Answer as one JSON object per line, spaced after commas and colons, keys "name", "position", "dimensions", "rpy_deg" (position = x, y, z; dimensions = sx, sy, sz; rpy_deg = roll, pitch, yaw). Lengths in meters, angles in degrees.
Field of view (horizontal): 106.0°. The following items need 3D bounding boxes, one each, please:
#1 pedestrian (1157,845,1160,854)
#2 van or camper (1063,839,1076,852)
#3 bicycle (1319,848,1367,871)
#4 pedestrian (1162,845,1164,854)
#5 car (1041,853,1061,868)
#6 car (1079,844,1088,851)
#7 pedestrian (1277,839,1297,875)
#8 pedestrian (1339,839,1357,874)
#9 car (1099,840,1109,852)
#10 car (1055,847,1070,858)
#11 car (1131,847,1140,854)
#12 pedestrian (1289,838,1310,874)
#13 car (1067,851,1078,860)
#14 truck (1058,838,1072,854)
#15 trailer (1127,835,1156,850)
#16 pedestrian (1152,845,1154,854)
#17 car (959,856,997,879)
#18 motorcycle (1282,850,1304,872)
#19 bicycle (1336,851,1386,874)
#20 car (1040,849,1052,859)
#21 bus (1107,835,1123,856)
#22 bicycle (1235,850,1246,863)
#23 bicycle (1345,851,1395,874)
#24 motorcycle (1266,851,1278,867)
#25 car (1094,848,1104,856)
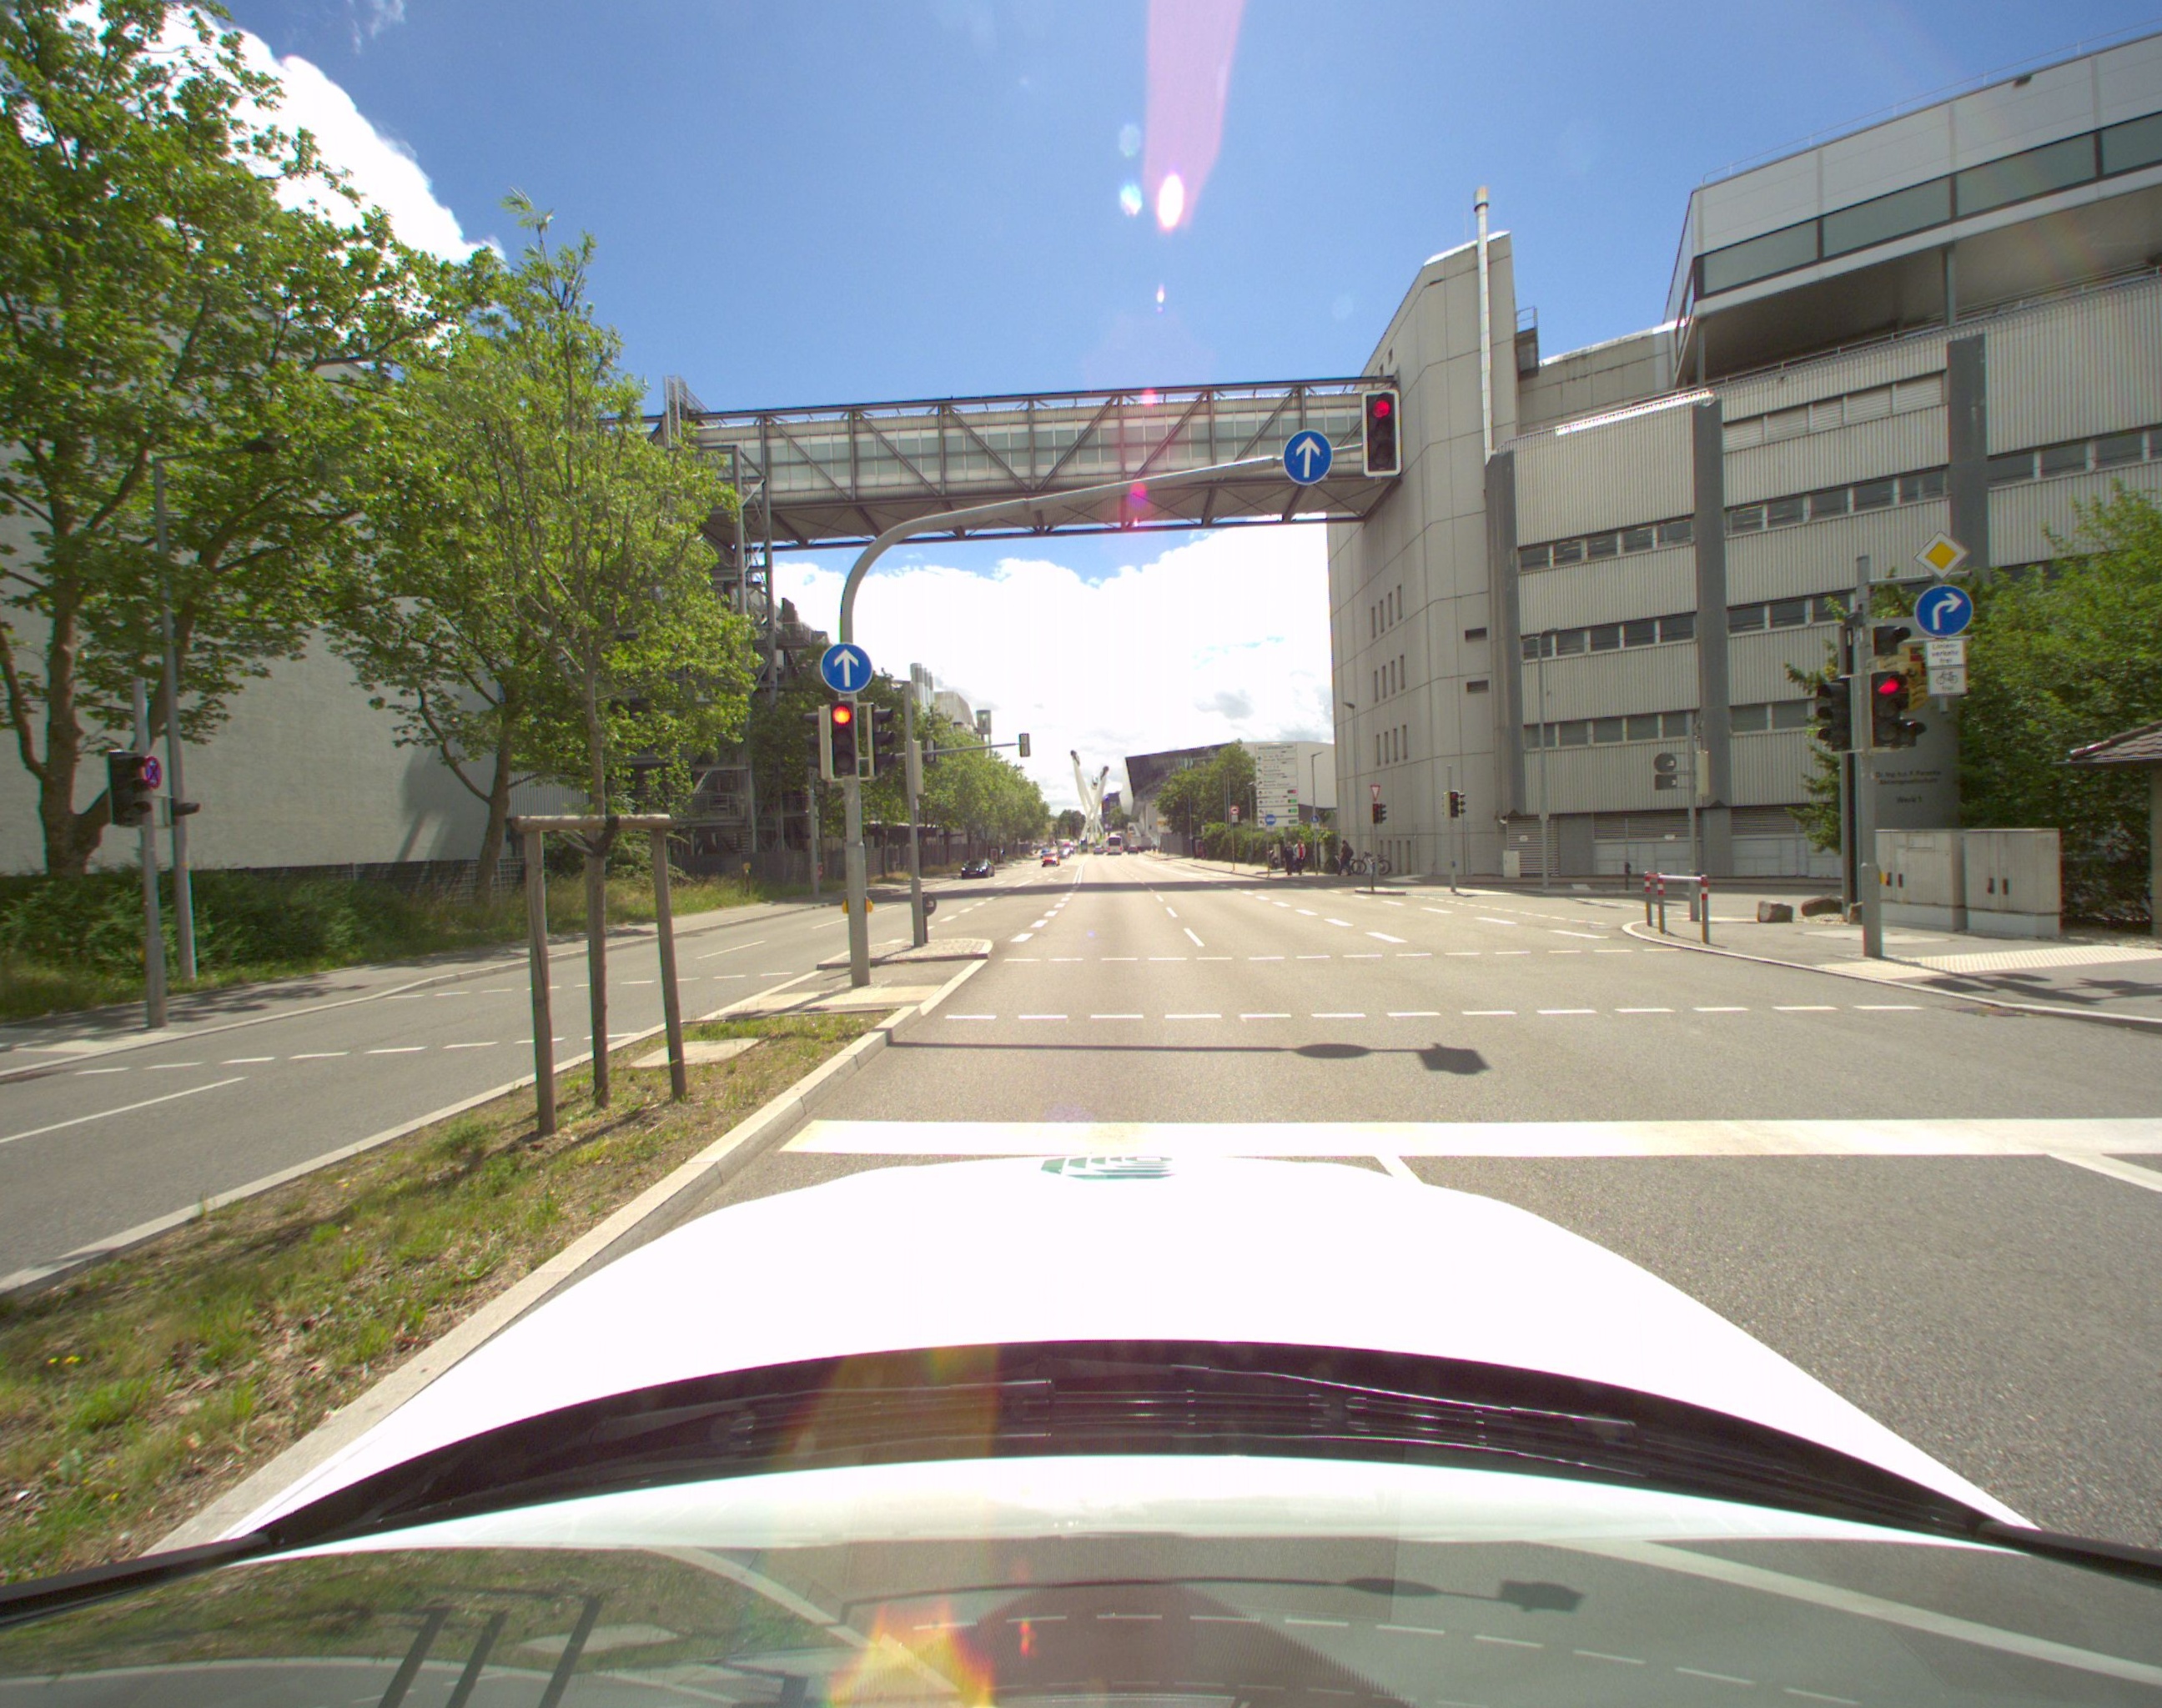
{"name": "pedestrian", "position": [13.016, -0.760, 137.083], "dimensions": [0.384, 1.421, 0.424], "rpy_deg": [0, -1, 2]}
{"name": "van or camper", "position": [-2.193, -1.660, 157.930], "dimensions": [2.038, 2.466, 5.598], "rpy_deg": [-1, 0, 3]}
{"name": "bicycle", "position": [13.084, 0.280, 40.700], "dimensions": [2.196, 1.086, 0.480], "rpy_deg": [-1, -1, 37]}
{"name": "pedestrian", "position": [13.947, -0.771, 138.458], "dimensions": [0.384, 1.421, 0.424], "rpy_deg": [0, -1, 2]}
{"name": "car", "position": [-3.115, 0.669, 85.021], "dimensions": [1.762, 1.420, 3.704], "rpy_deg": [-4, 0, 3]}
{"name": "car", "position": [0.485, -1.280, 156.001], "dimensions": [1.551, 1.273, 3.704], "rpy_deg": [-4, 0, 3]}
{"name": "pedestrian", "position": [10.540, 0.145, 41.635], "dimensions": [0.642, 1.793, 0.709], "rpy_deg": [-4, 0, -14]}
{"name": "pedestrian", "position": [12.652, 0.099, 38.589], "dimensions": [0.538, 1.640, 0.650], "rpy_deg": [0, -1, -44]}
{"name": "car", "position": [4.824, -1.654, 171.346], "dimensions": [1.837, 2.624, 4.000], "rpy_deg": [0, -1, 0]}
{"name": "car", "position": [-2.743, -0.231, 121.100], "dimensions": [1.762, 1.420, 3.704], "rpy_deg": [-4, 0, 3]}
{"name": "car", "position": [9.850, -0.648, 146.310], "dimensions": [1.551, 1.273, 3.704], "rpy_deg": [-4, 0, 3]}
{"name": "pedestrian", "position": [11.211, 0.097, 41.744], "dimensions": [0.692, 1.793, 0.709], "rpy_deg": [-4, 0, -14]}
{"name": "car", "position": [-1.443, 0.235, 139.639], "dimensions": [1.551, 1.448, 3.775], "rpy_deg": [-4, 0, 3]}
{"name": "truck", "position": [-3.456, -1.632, 176.249], "dimensions": [2.581, 3.324, 7.083], "rpy_deg": [0, -1, 3]}
{"name": "trailer", "position": [12.888, -2.451, 172.161], "dimensions": [3.291, 2.995, 10.429], "rpy_deg": [-1, -1, 21]}
{"name": "pedestrian", "position": [12.194, -0.731, 137.792], "dimensions": [0.384, 1.421, 0.424], "rpy_deg": [0, -1, 2]}
{"name": "car", "position": [-7.608, 0.980, 60.511], "dimensions": [1.910, 1.488, 4.775], "rpy_deg": [-4, 0, 3]}
{"name": "motorcycle", "position": [11.651, 0.398, 44.891], "dimensions": [0.418, 1.166, 1.951], "rpy_deg": [0, -1, -9]}
{"name": "bicycle", "position": [13.518, 0.404, 39.356], "dimensions": [2.196, 1.086, 0.480], "rpy_deg": [-1, -1, 37]}
{"name": "car", "position": [-6.036, -0.041, 139.887], "dimensions": [1.792, 1.574, 4.000], "rpy_deg": [-1, 0, 0]}
{"name": "bus", "position": [6.077, -1.483, 145.907], "dimensions": [2.776, 3.686, 6.947], "rpy_deg": [0, -1, 3]}
{"name": "bicycle", "position": [12.726, 0.173, 65.126], "dimensions": [0.417, 1.022, 1.911], "rpy_deg": [0, -1, -2]}
{"name": "bicycle", "position": [13.676, 0.396, 38.586], "dimensions": [2.166, 1.086, 0.480], "rpy_deg": [-1, -1, 37]}
{"name": "motorcycle", "position": [12.175, 0.338, 51.868], "dimensions": [0.455, 1.022, 1.914], "rpy_deg": [0, -1, 4]}
{"name": "car", "position": [3.339, -0.320, 148.702], "dimensions": [1.551, 1.273, 3.704], "rpy_deg": [-4, 0, 3]}
